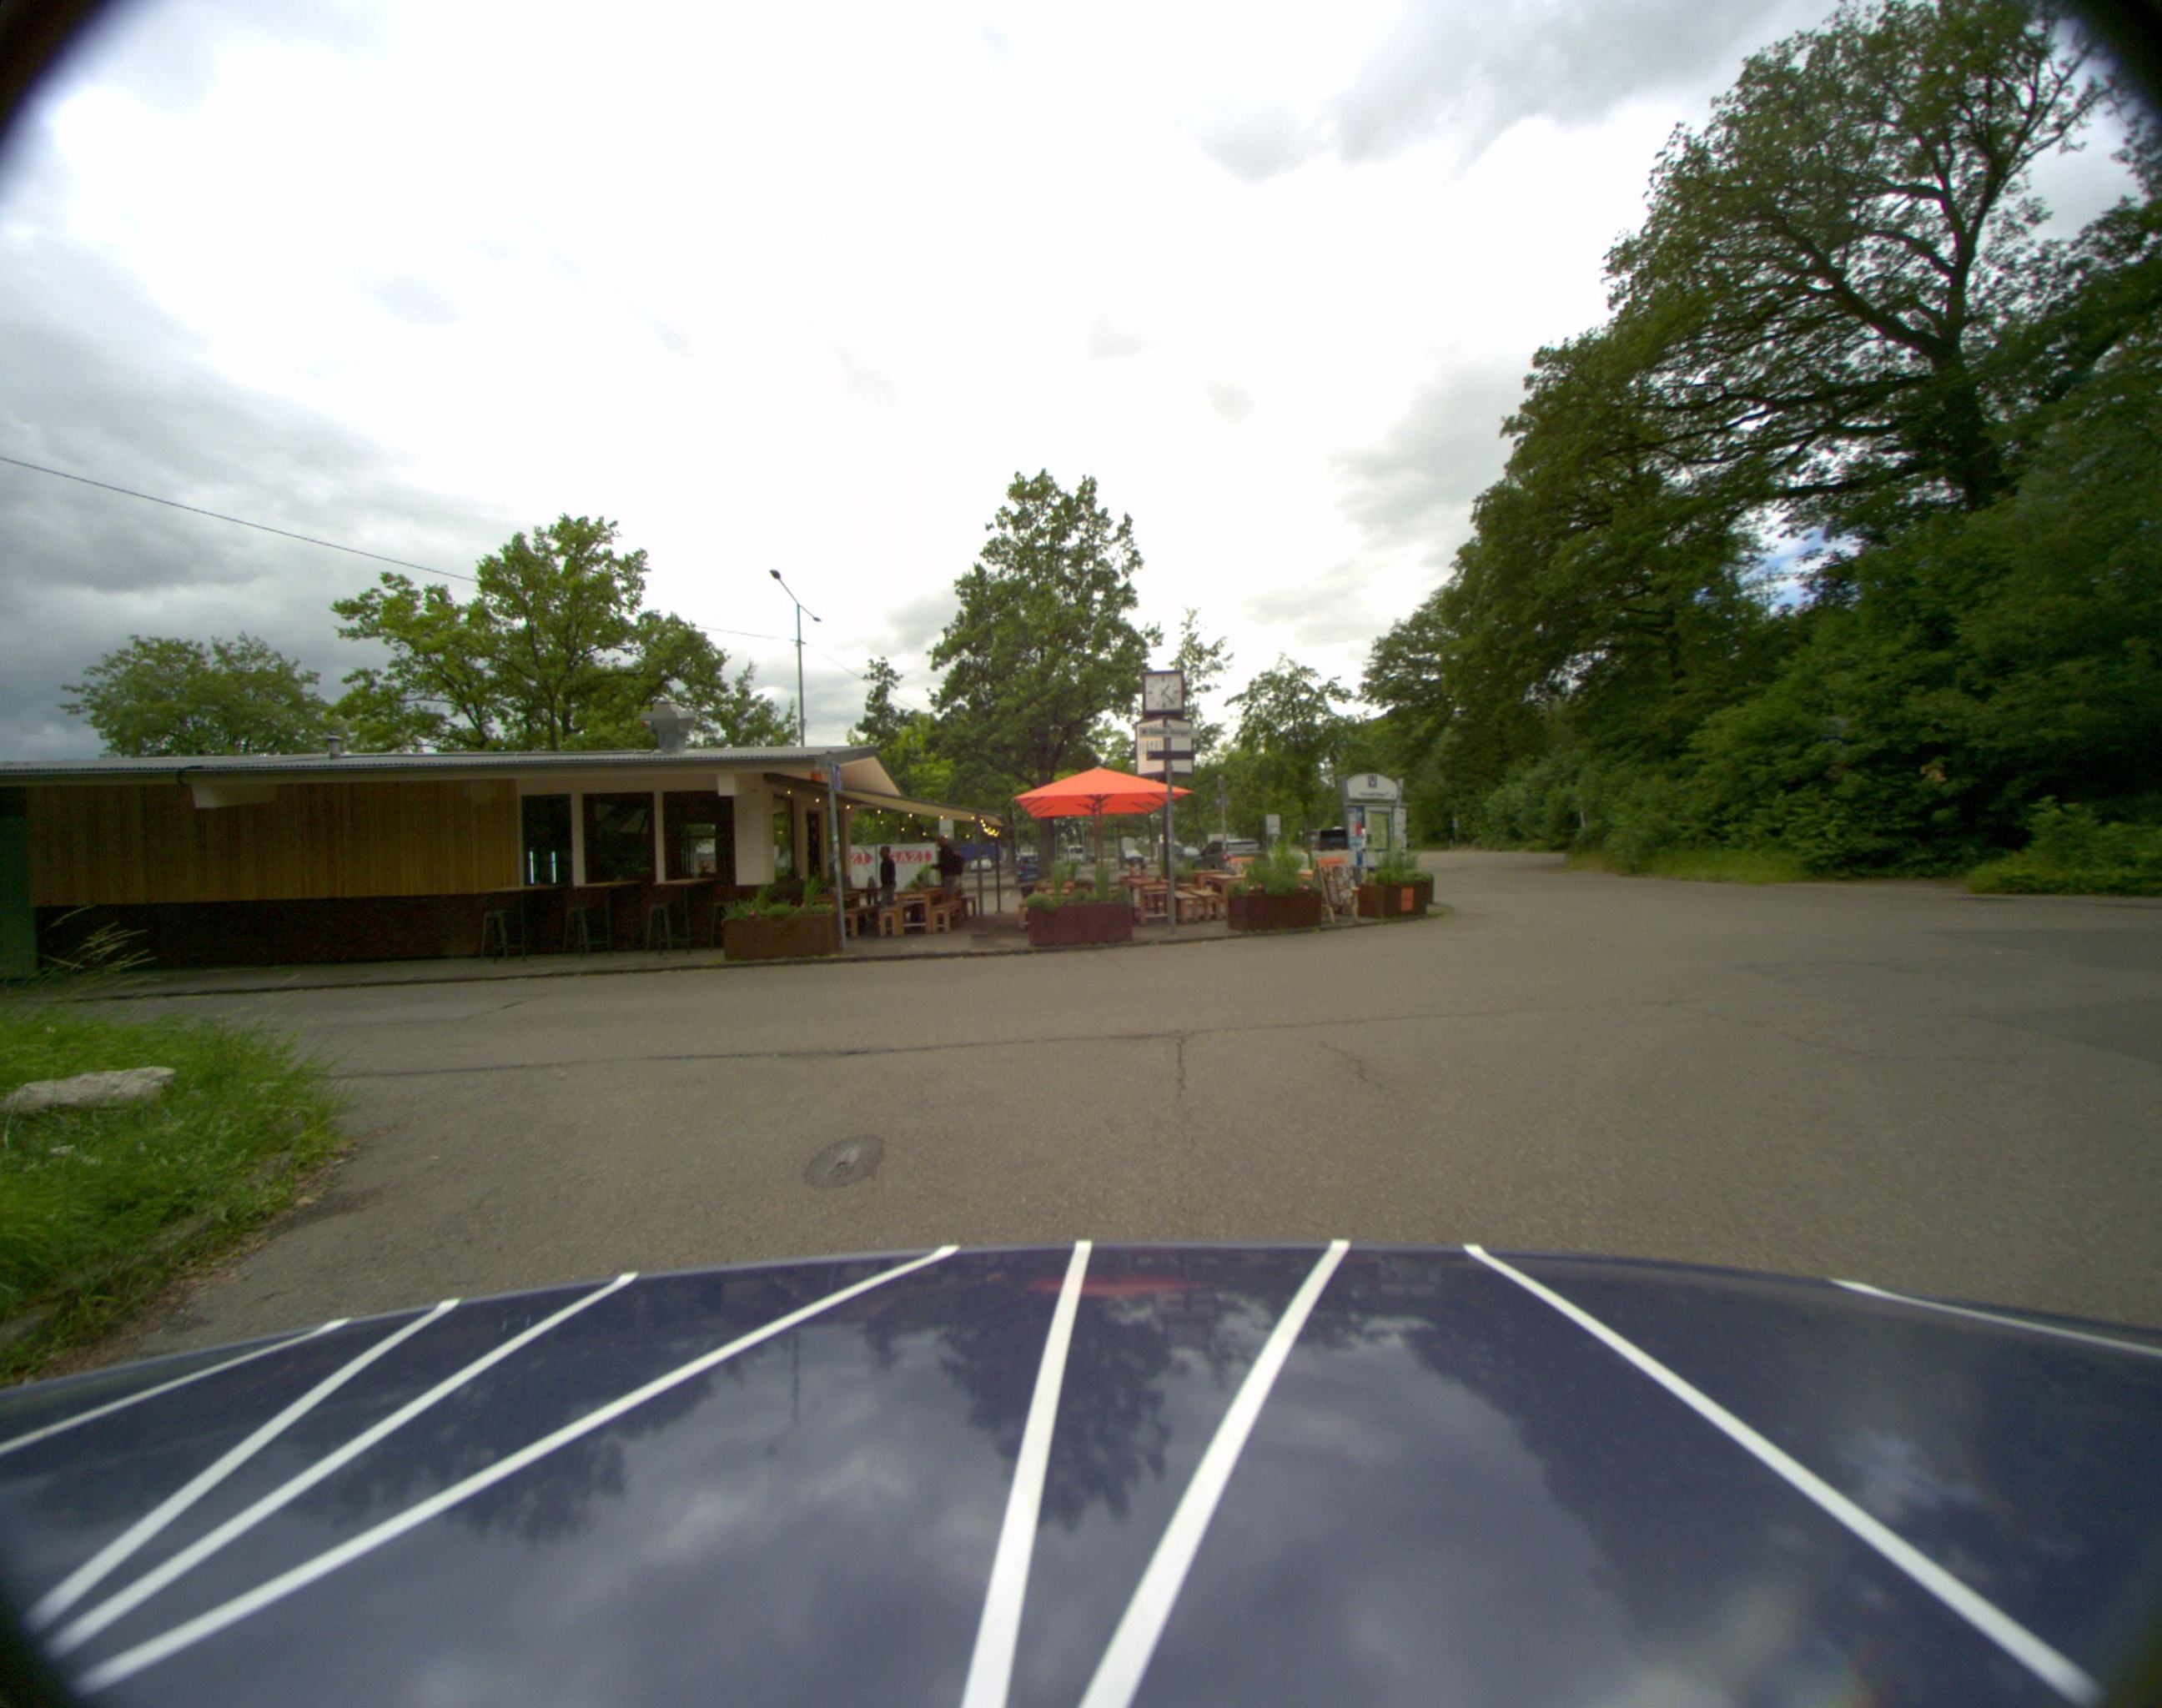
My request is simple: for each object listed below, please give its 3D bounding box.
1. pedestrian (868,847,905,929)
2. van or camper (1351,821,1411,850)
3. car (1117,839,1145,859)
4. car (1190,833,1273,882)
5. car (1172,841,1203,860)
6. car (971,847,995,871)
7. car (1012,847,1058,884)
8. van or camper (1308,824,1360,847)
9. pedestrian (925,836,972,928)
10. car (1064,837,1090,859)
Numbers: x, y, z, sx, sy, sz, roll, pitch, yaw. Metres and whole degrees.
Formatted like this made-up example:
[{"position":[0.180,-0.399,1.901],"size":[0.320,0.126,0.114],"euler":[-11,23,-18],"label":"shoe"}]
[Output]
[{"position":[-4.042,0.698,15.819],"size":[0.530,1.658,0.595],"euler":[-2,1,0],"label":"pedestrian"},{"position":[33.246,-2.061,84.065],"size":[7.350,2.833,2.064],"euler":[-3,1,-30],"label":"van or camper"},{"position":[4.838,-0.502,74.315],"size":[1.877,1.769,4.292],"euler":[-2,1,-7],"label":"car"},{"position":[5.744,0.118,29.589],"size":[1.935,1.660,4.342],"euler":[-3,1,-6],"label":"car"},{"position":[10.454,-0.311,74.917],"size":[1.877,1.769,4.292],"euler":[-2,1,-7],"label":"car"},{"position":[-8.671,0.437,67.368],"size":[2.000,2.002,3.997],"euler":[-2,1,-7],"label":"car"},{"position":[-2.219,0.505,36.169],"size":[1.999,1.543,3.998],"euler":[-2,1,-4],"label":"car"},{"position":[35.926,-2.616,107.921],"size":[7.348,2.833,2.199],"euler":[-3,1,-25],"label":"van or camper"},{"position":[-2.725,0.564,15.739],"size":[0.749,1.820,0.710],"euler":[-2,1,1],"label":"pedestrian"},{"position":[-0.458,-0.564,74.042],"size":[1.877,2.027,4.587],"euler":[-2,1,-7],"label":"car"}]
